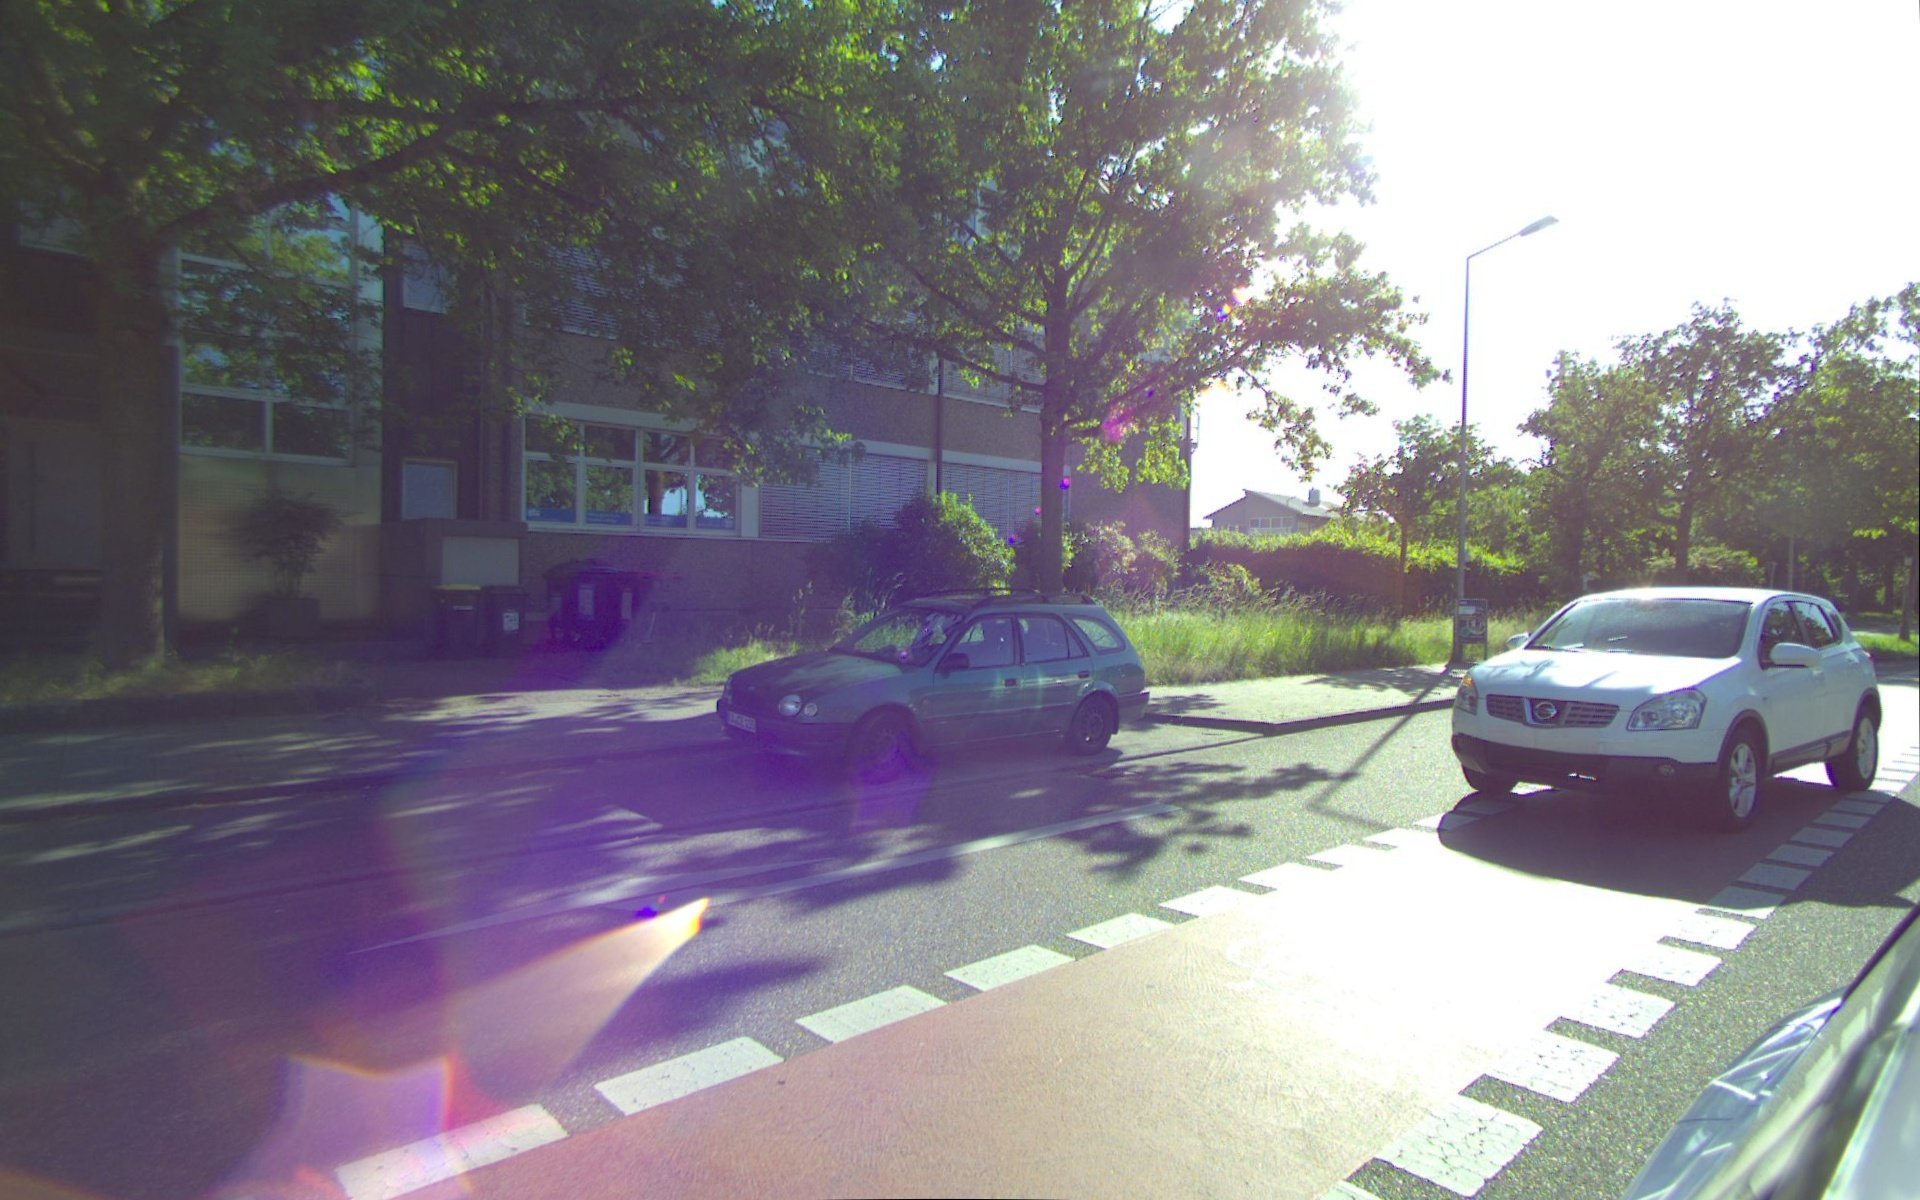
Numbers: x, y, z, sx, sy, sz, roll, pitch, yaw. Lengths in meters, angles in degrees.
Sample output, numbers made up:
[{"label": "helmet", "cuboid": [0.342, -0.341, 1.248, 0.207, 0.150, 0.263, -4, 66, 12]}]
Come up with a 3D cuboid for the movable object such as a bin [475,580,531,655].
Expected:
[{"label": "movable object such as a bin", "cuboid": [-6.763, 0.244, 14.970, 0.604, 1.075, 0.634, 0, 1, -42]}]

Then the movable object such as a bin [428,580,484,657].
[{"label": "movable object such as a bin", "cuboid": [-7.218, 0.249, 14.489, 0.575, 1.070, 0.625, 0, 1, -42]}]

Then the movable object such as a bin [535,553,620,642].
[{"label": "movable object such as a bin", "cuboid": [-6.784, -0.070, 17.933, 1.024, 1.501, 1.309, 0, 2, -41]}]

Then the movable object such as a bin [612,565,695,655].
[{"label": "movable object such as a bin", "cuboid": [-4.785, 0.129, 15.765, 0.878, 1.323, 1.186, 0, 2, -37]}]

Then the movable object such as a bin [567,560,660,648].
[{"label": "movable object such as a bin", "cuboid": [-5.775, 0.046, 16.853, 1.070, 1.388, 1.186, 0, 2, -43]}]

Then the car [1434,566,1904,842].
[{"label": "car", "cuboid": [5.587, 0.615, 7.835, 3.990, 1.628, 1.723, 0, 0, -35]}]

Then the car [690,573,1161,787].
[{"label": "car", "cuboid": [-0.149, 0.577, 9.124, 4.068, 1.487, 1.705, 1, 1, -41]}]
